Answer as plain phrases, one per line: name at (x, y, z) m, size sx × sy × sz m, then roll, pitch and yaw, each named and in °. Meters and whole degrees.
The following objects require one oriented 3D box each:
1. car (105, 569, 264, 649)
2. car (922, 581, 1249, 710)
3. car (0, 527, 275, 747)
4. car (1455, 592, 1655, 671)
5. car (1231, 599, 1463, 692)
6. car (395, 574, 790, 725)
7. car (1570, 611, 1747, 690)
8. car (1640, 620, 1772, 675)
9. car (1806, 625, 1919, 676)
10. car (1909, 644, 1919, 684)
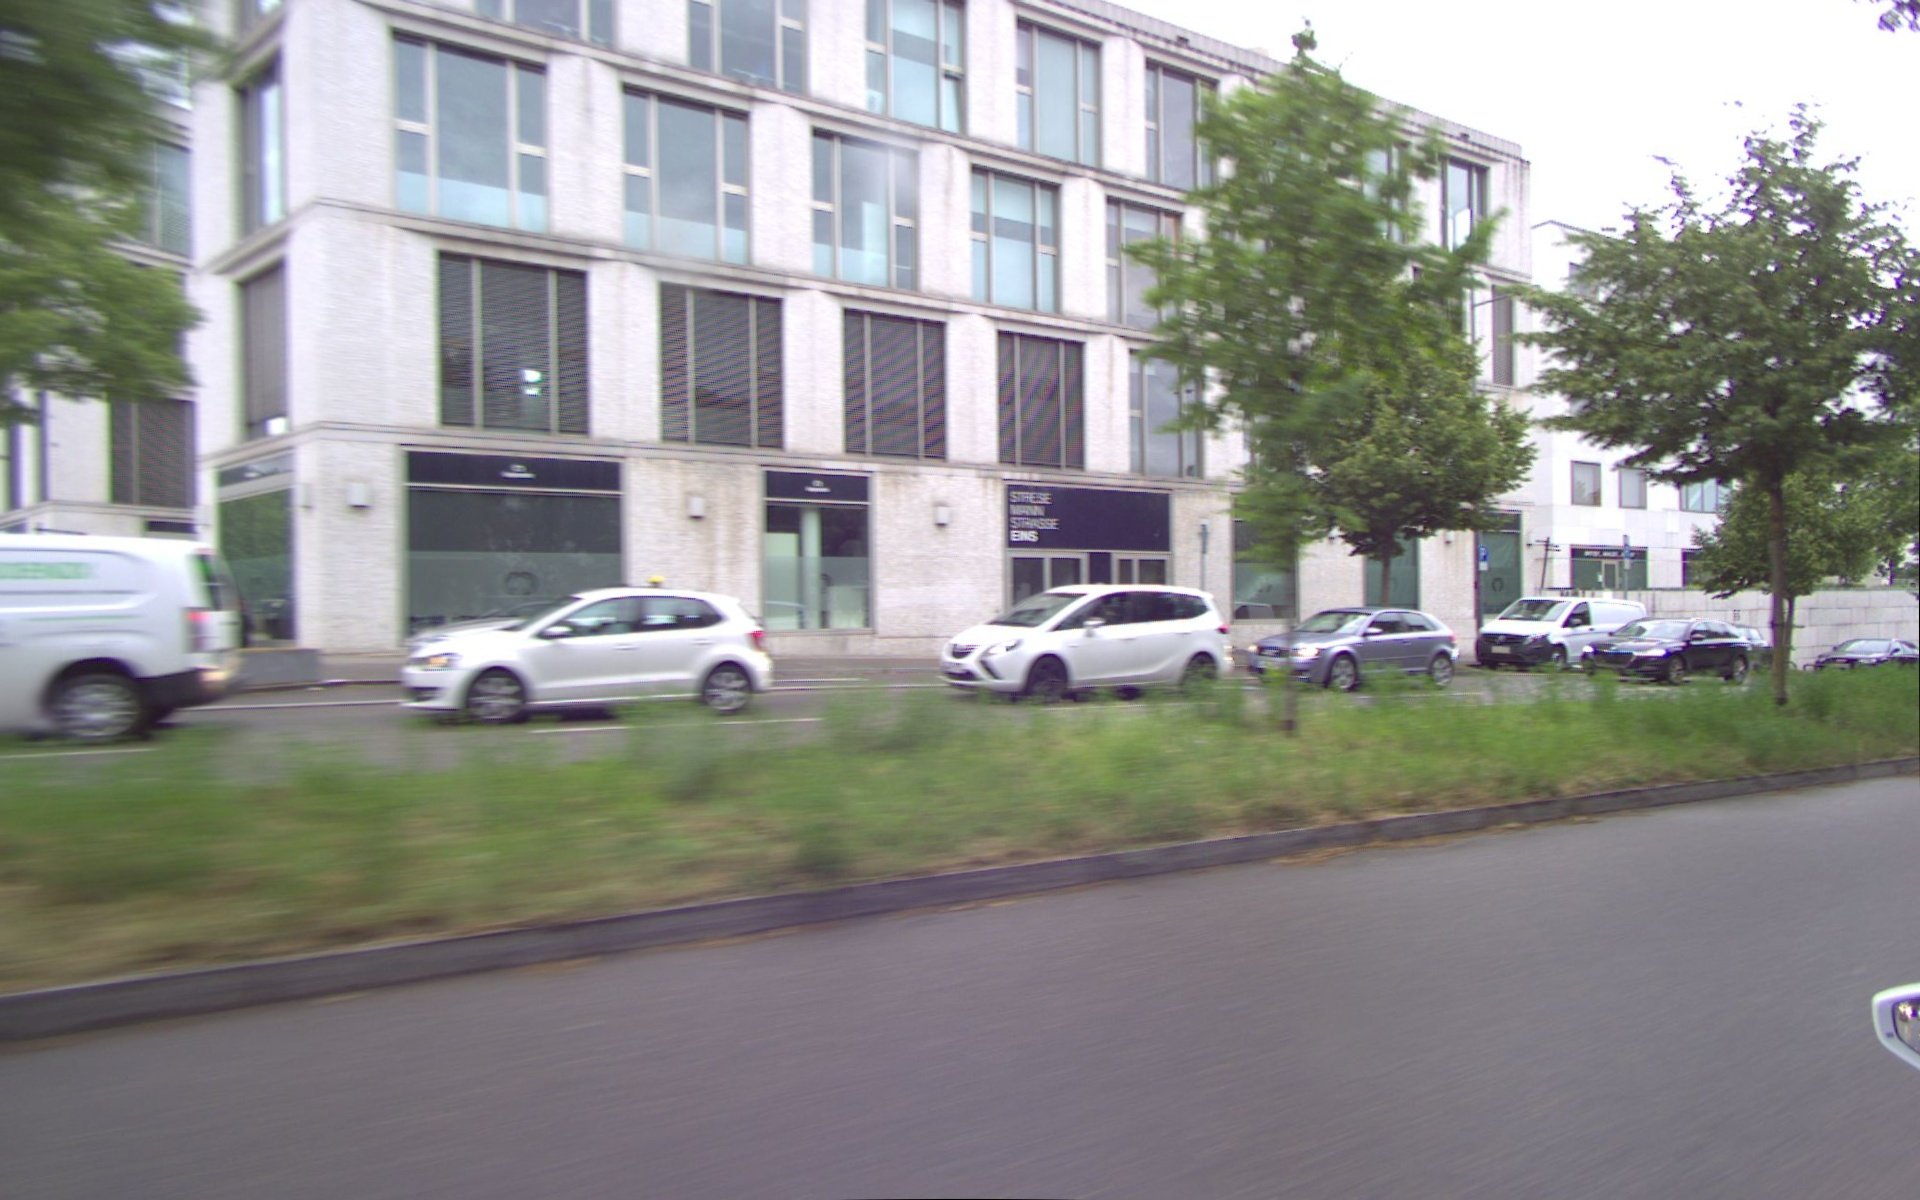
car at (-14.802, 0.143, 19.142) m, size 3.243 × 1.395 × 1.562 m, roll 0°, pitch 1°, yaw 36°
car at (1.909, 0.580, 14.836) m, size 4.617 × 1.622 × 1.821 m, roll -1°, pitch -1°, yaw -29°
car at (-9.005, 0.310, 8.839) m, size 4.713 × 1.826 × 1.836 m, roll 0°, pitch -1°, yaw -29°
car at (15.183, 0.798, 25.551) m, size 5.198 × 1.840 × 2.112 m, roll 2°, pitch -1°, yaw -30°
car at (6.847, 0.747, 17.711) m, size 3.946 × 1.429 × 1.635 m, roll -1°, pitch 0°, yaw -28°
car at (-4.167, 0.529, 11.578) m, size 4.010 × 1.487 × 1.736 m, roll 2°, pitch 0°, yaw -28°
car at (15.604, 1.059, 22.410) m, size 3.968 × 1.602 × 1.687 m, roll 0°, pitch 0°, yaw -29°
car at (21.287, 1.354, 28.641) m, size 3.655 × 1.403 × 1.687 m, roll 3°, pitch 0°, yaw -30°
car at (30.274, 1.667, 33.617) m, size 3.967 × 1.602 × 1.688 m, roll 1°, pitch -1°, yaw -28°
car at (37.730, 2.417, 37.825) m, size 3.809 × 1.463 × 1.689 m, roll 1°, pitch -1°, yaw -27°
